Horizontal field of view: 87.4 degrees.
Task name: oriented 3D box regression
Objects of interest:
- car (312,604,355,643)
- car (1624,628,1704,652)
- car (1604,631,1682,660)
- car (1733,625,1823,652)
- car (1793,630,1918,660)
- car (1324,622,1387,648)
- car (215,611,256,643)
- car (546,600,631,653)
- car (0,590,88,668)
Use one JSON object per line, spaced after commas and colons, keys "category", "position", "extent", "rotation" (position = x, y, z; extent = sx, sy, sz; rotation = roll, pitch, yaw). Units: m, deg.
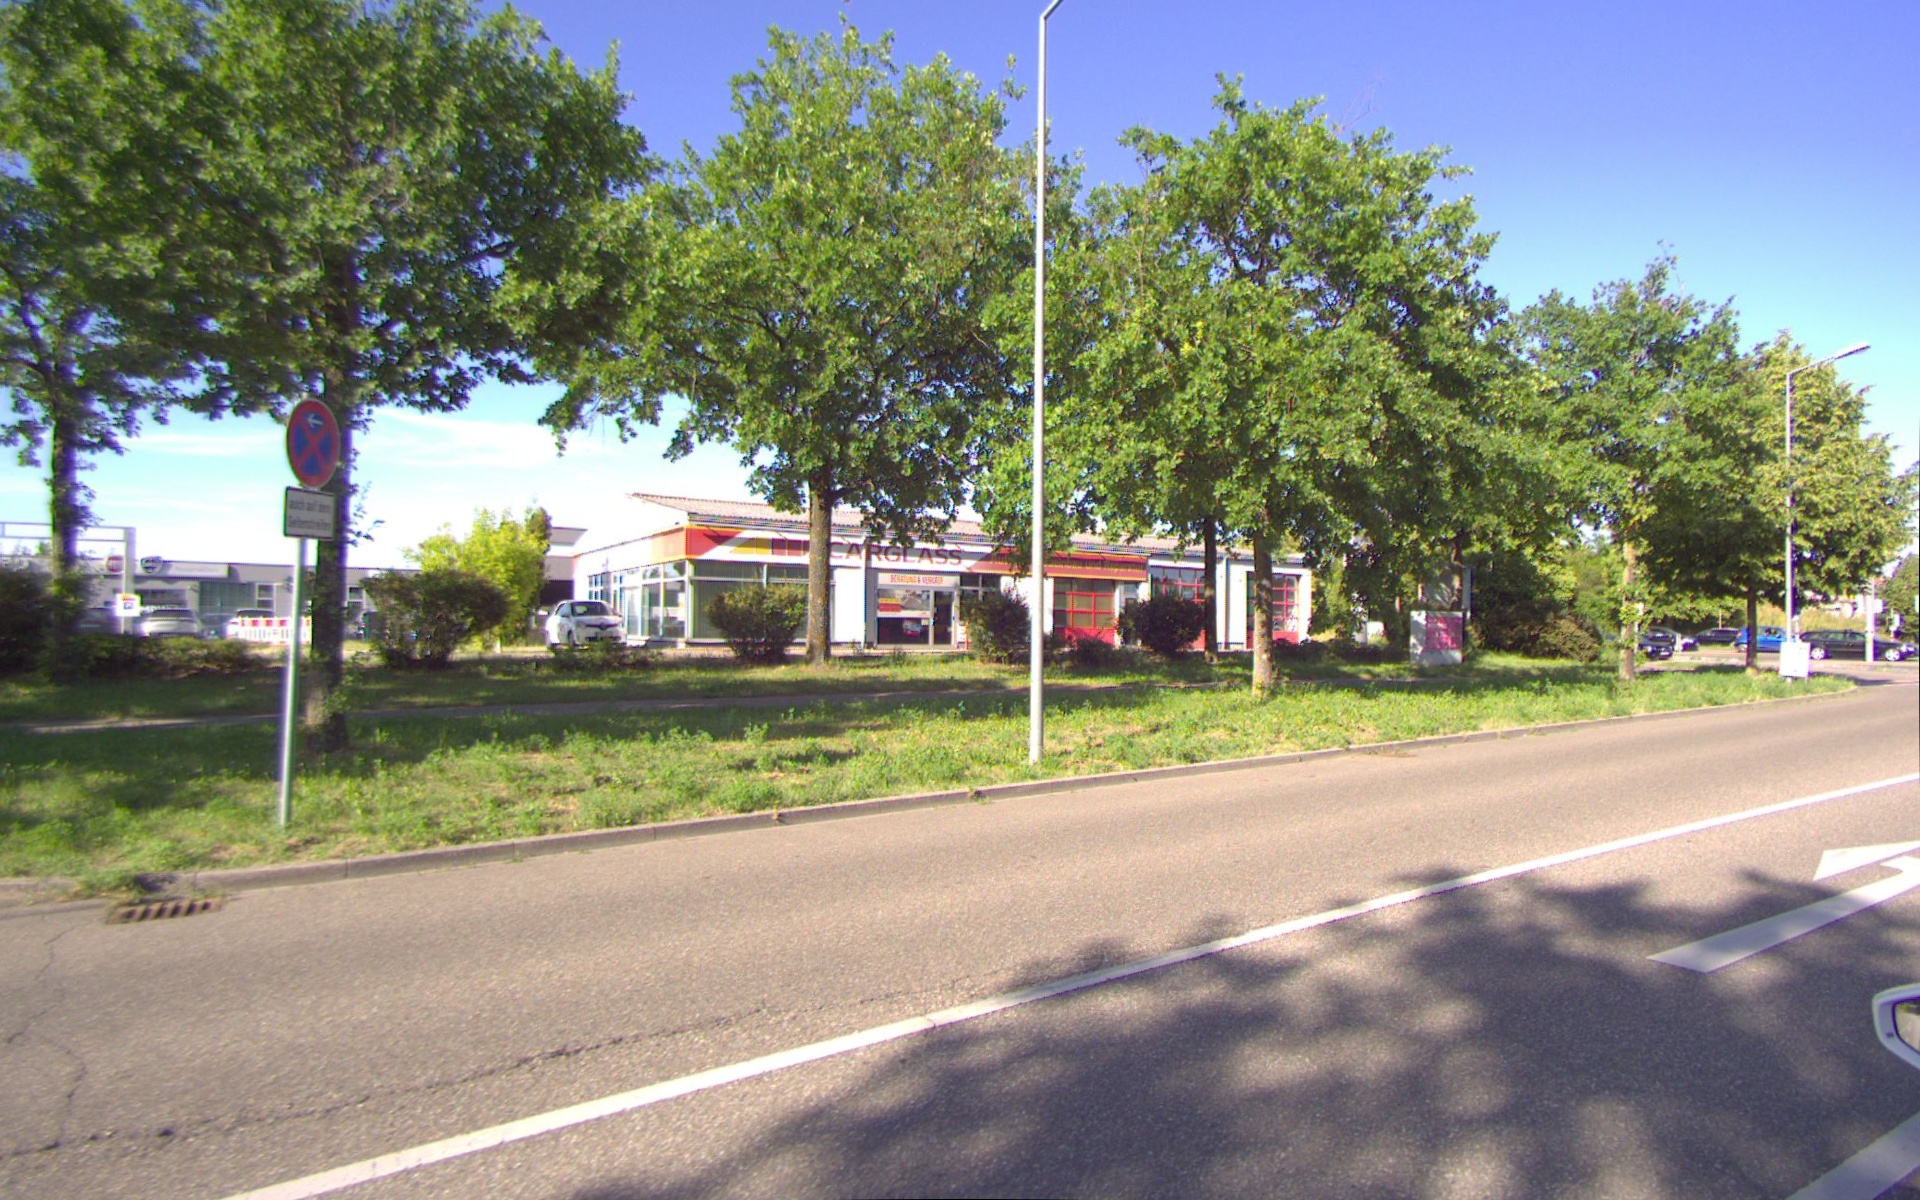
{"category": "car", "position": [-33.756, 1.278, 54.106], "extent": [1.864, 2.040, 3.965], "rotation": [1, -2, -32]}
{"category": "car", "position": [44.059, 2.503, 62.941], "extent": [1.495, 1.330, 3.816], "rotation": [2, -1, -38]}
{"category": "car", "position": [36.051, 2.441, 53.172], "extent": [1.960, 1.421, 4.591], "rotation": [-2, -3, 15]}
{"category": "car", "position": [47.616, 2.237, 58.502], "extent": [1.668, 1.403, 3.816], "rotation": [2, -1, -39]}
{"category": "car", "position": [44.948, 2.230, 50.486], "extent": [1.666, 1.460, 4.433], "rotation": [1, -2, -35]}
{"category": "car", "position": [28.501, 2.512, 72.468], "extent": [1.447, 1.825, 4.074], "rotation": [2, -2, -42]}
{"category": "car", "position": [-36.270, 1.346, 50.296], "extent": [1.578, 1.517, 3.572], "rotation": [2, -2, -35]}
{"category": "car", "position": [-11.564, 0.813, 31.158], "extent": [1.578, 1.517, 3.572], "rotation": [2, -2, -35]}
{"category": "car", "position": [-27.344, 0.829, 29.216], "extent": [2.277, 2.097, 5.375], "rotation": [1, -2, -34]}
